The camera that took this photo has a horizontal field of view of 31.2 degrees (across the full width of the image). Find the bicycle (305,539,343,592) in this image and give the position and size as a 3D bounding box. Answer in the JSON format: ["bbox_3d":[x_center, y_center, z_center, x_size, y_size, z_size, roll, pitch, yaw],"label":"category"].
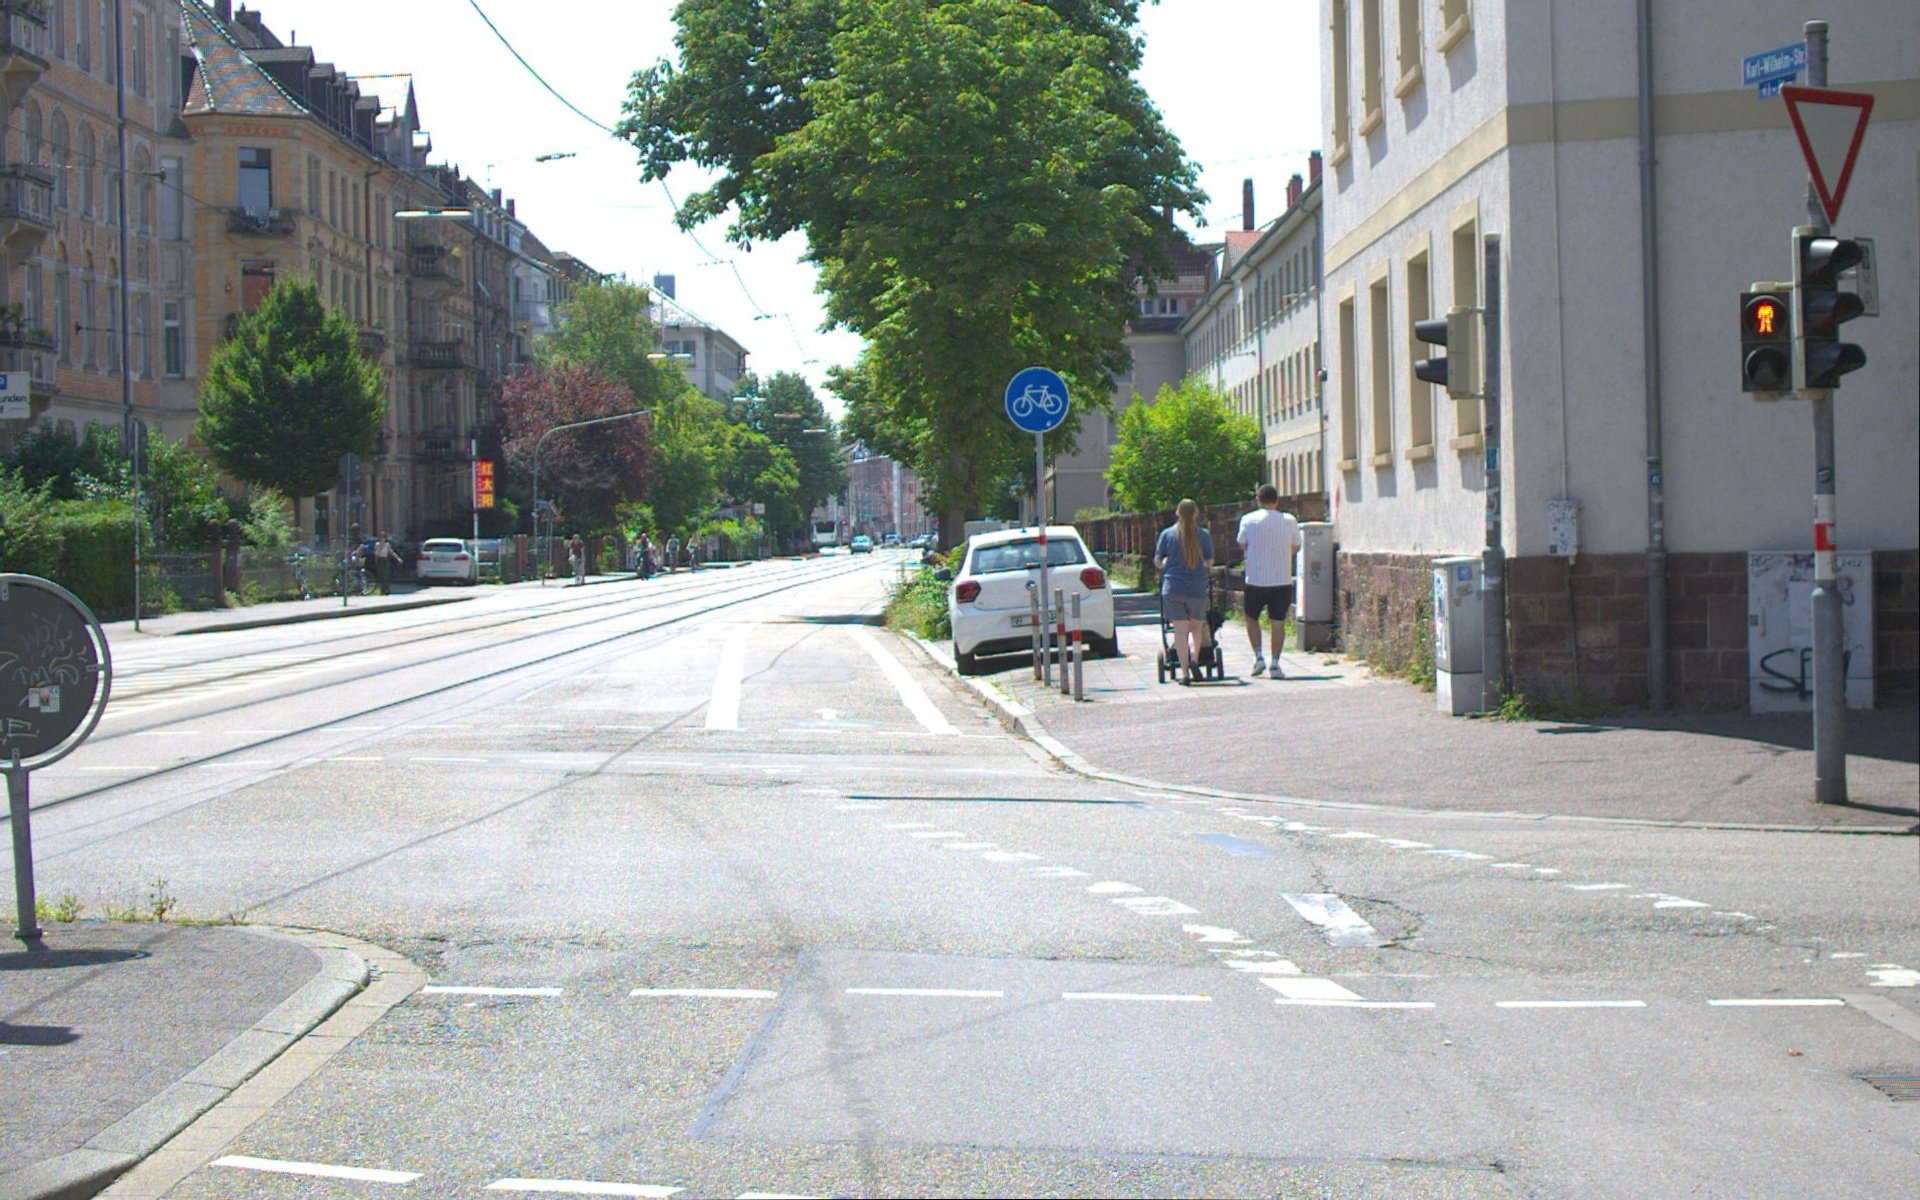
[{"bbox_3d":[-15.662,-0.857,84.683,0.677,1.274,1.919,-1,1,-3],"label":"bicycle"}]

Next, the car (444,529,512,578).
[{"bbox_3d":[-17.332,-1.673,123.844,1.919,1.709,4.000,1,1,-1],"label":"car"}]

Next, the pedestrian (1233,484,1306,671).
[{"bbox_3d":[2.751,-0.199,30.602,0.556,1.640,0.677,1,0,-1],"label":"pedestrian"}]

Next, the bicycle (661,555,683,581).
[{"bbox_3d":[-12.609,-1.395,150.750,0.727,1.119,2.085,1,1,1],"label":"bicycle"}]

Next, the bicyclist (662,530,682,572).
[{"bbox_3d":[-12.617,-2.135,150.764,0.727,1.812,1.079,1,0,1],"label":"bicyclist"}]

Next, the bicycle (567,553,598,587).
[{"bbox_3d":[-12.500,-0.998,113.787,0.727,1.119,2.085,1,1,1],"label":"bicycle"}]

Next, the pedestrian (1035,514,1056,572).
[{"bbox_3d":[2.301,-1.533,92.265,0.521,1.557,0.573,-1,1,-1],"label":"pedestrian"}]

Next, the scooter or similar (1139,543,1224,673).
[{"bbox_3d":[2.018,0.063,31.221,0.557,1.151,1.204,1,0,14],"label":"scooter or similar"}]

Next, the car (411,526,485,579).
[{"bbox_3d":[-17.188,-1.587,115.580,1.919,1.709,4.000,1,1,-1],"label":"car"}]

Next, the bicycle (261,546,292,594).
[{"bbox_3d":[-15.906,-0.706,80.040,0.677,1.061,1.919,-1,1,-11],"label":"bicycle"}]

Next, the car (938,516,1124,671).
[{"bbox_3d":[0.716,-0.088,37.330,1.815,1.511,4.000,-3,1,-1],"label":"car"}]

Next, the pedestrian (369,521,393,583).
[{"bbox_3d":[-15.686,-1.309,93.127,0.521,1.653,0.529,-1,1,-1],"label":"pedestrian"}]

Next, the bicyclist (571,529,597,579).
[{"bbox_3d":[-12.441,-1.514,113.780,0.727,1.623,1.079,1,0,1],"label":"bicyclist"}]

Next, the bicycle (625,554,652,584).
[{"bbox_3d":[-11.961,-1.148,127.981,0.727,1.119,2.085,1,1,1],"label":"bicycle"}]

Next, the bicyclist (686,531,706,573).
[{"bbox_3d":[-11.576,-2.106,150.722,0.727,1.812,1.079,1,0,1],"label":"bicyclist"}]

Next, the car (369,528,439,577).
[{"bbox_3d":[-20.018,-1.710,123.917,1.919,1.709,4.000,1,1,-1],"label":"car"}]

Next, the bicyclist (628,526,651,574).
[{"bbox_3d":[-11.944,-1.854,128.125,0.727,1.762,1.079,1,0,1],"label":"bicyclist"}]

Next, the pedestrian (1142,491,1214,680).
[{"bbox_3d":[1.917,-0.126,30.313,0.556,1.640,0.677,1,0,-1],"label":"pedestrian"}]
